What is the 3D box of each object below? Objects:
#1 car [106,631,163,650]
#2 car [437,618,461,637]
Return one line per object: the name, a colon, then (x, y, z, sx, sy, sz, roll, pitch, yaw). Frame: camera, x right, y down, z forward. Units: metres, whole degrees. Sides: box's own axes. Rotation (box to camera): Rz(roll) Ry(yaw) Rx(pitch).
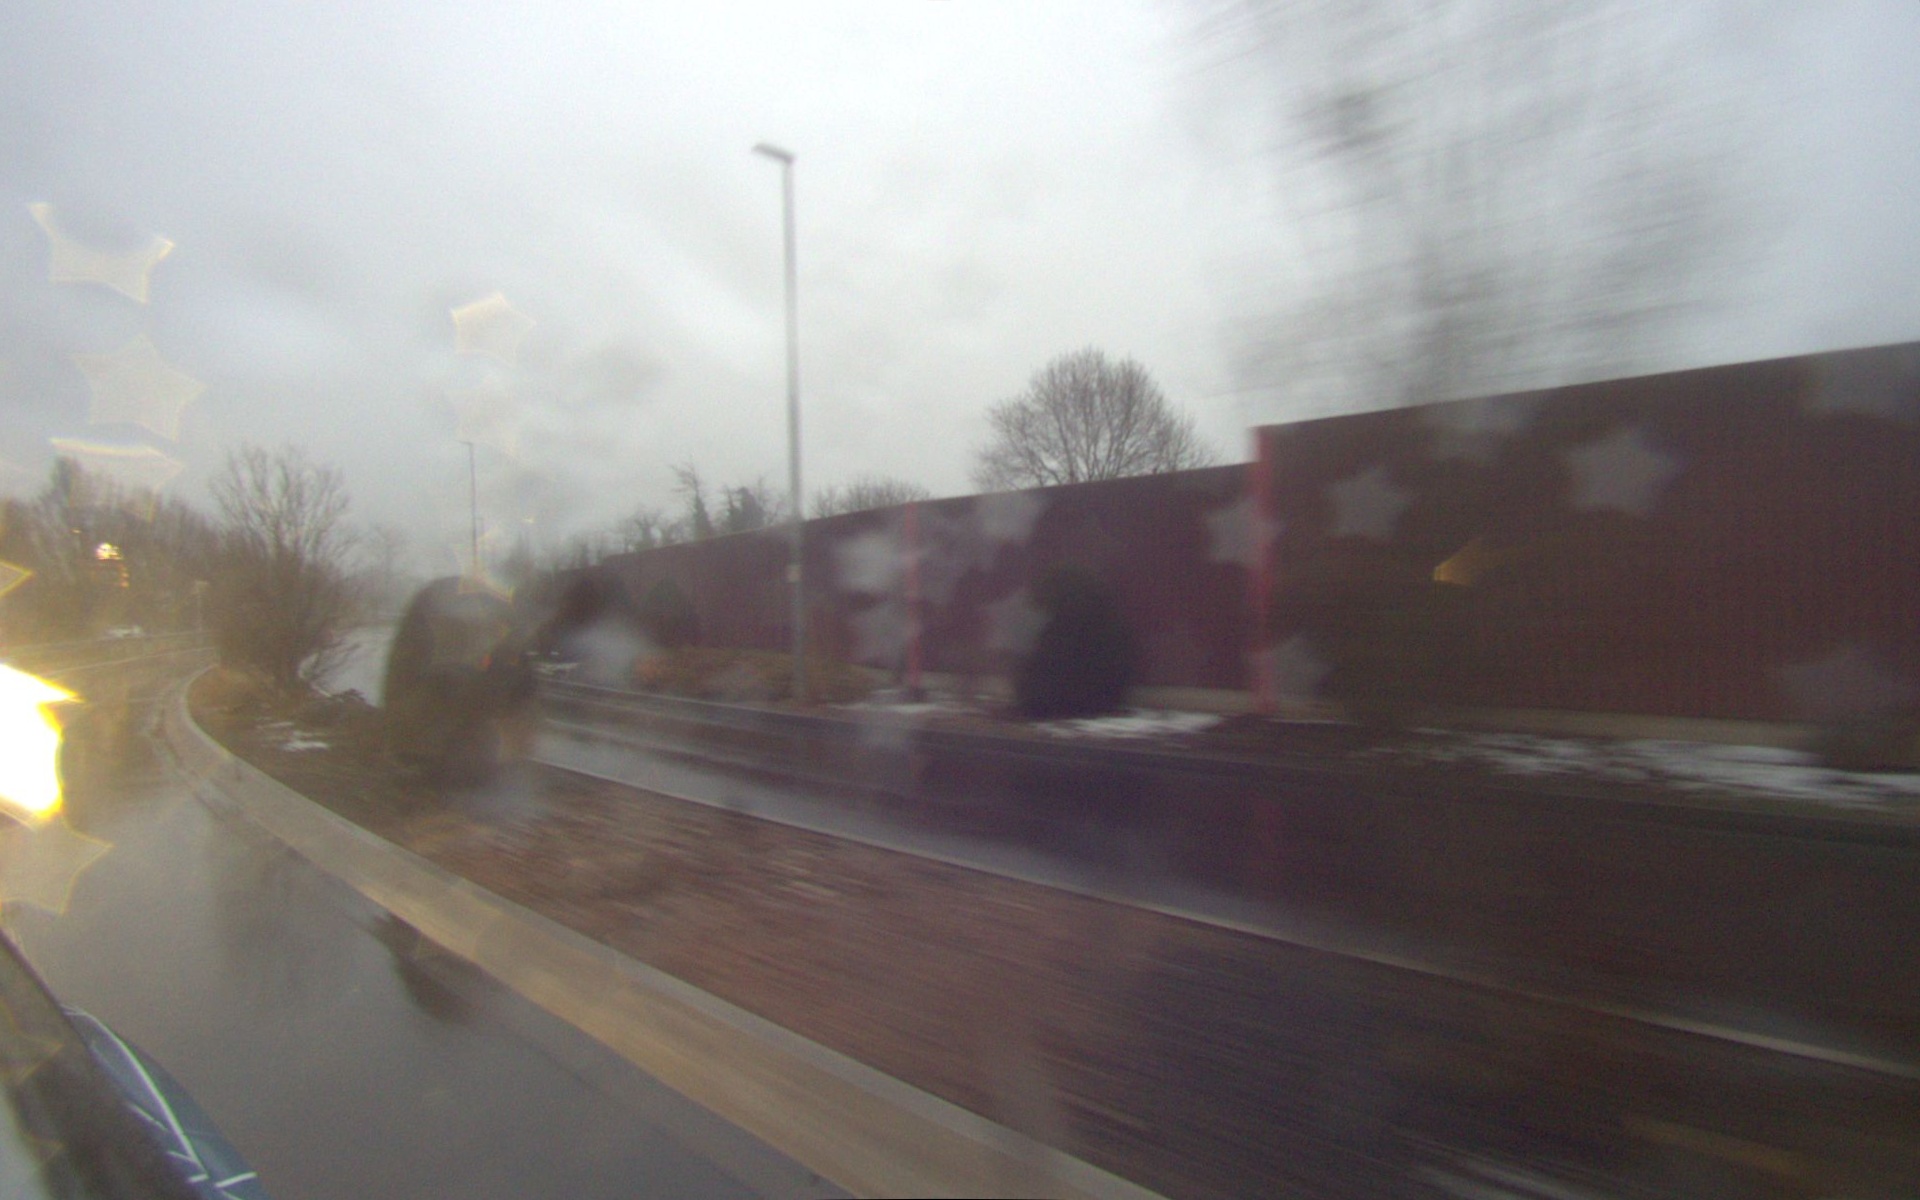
car: (-75.448, 3.680, 92.559, 3.947, 1.609, 1.811, 0, 0, -35)
car: (-46.385, 2.501, 91.888, 1.671, 1.590, 3.896, -1, 1, -31)
